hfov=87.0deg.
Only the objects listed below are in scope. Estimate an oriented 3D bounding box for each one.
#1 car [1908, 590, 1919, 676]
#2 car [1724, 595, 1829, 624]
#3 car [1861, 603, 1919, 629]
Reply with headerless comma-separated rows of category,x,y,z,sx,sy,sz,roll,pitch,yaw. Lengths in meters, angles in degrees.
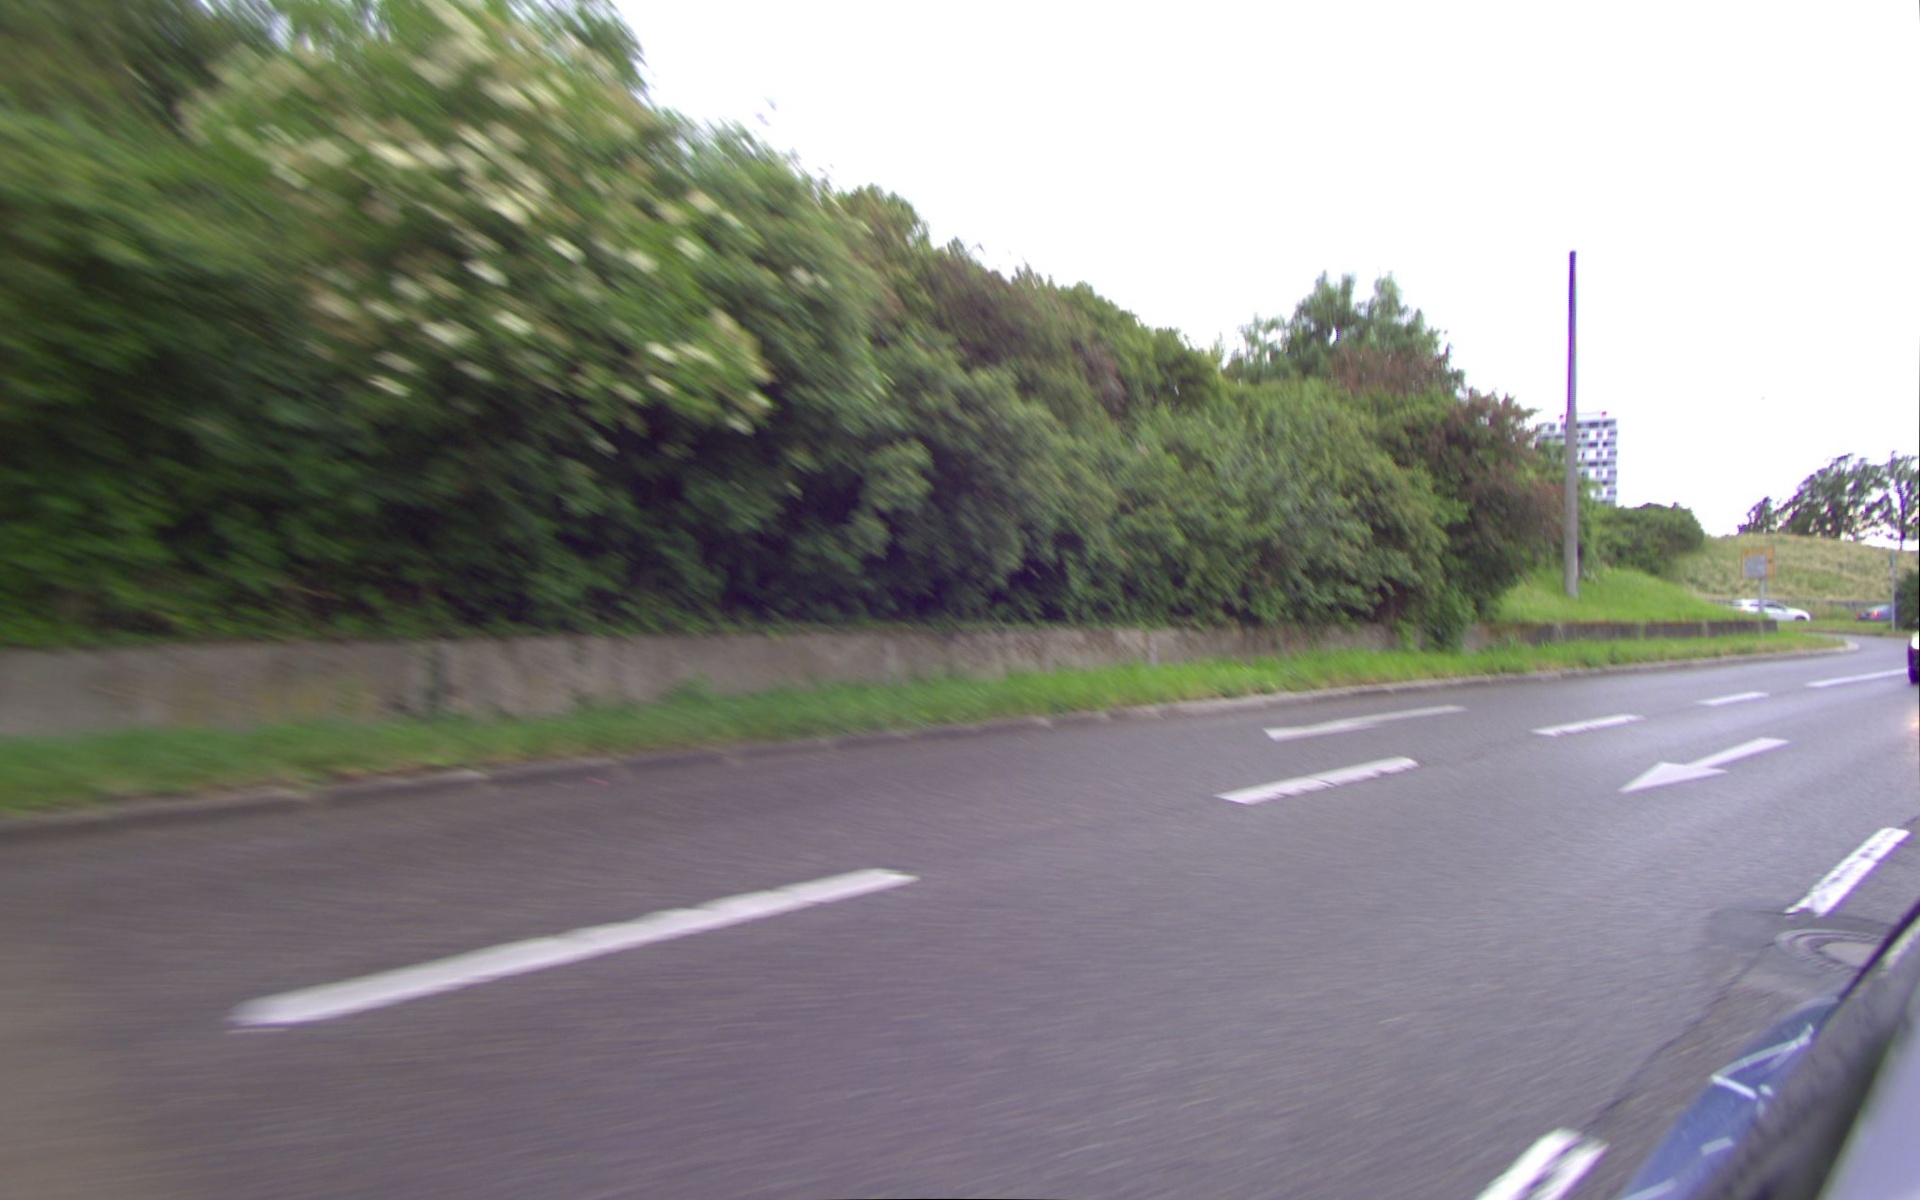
car,20.300,0.632,19.649,4.197,1.621,1.929,0,0,-35
car,46.957,0.550,58.287,4.199,1.447,2.071,2,-1,7
car,54.330,0.942,57.395,4.477,1.368,1.839,2,-1,8
